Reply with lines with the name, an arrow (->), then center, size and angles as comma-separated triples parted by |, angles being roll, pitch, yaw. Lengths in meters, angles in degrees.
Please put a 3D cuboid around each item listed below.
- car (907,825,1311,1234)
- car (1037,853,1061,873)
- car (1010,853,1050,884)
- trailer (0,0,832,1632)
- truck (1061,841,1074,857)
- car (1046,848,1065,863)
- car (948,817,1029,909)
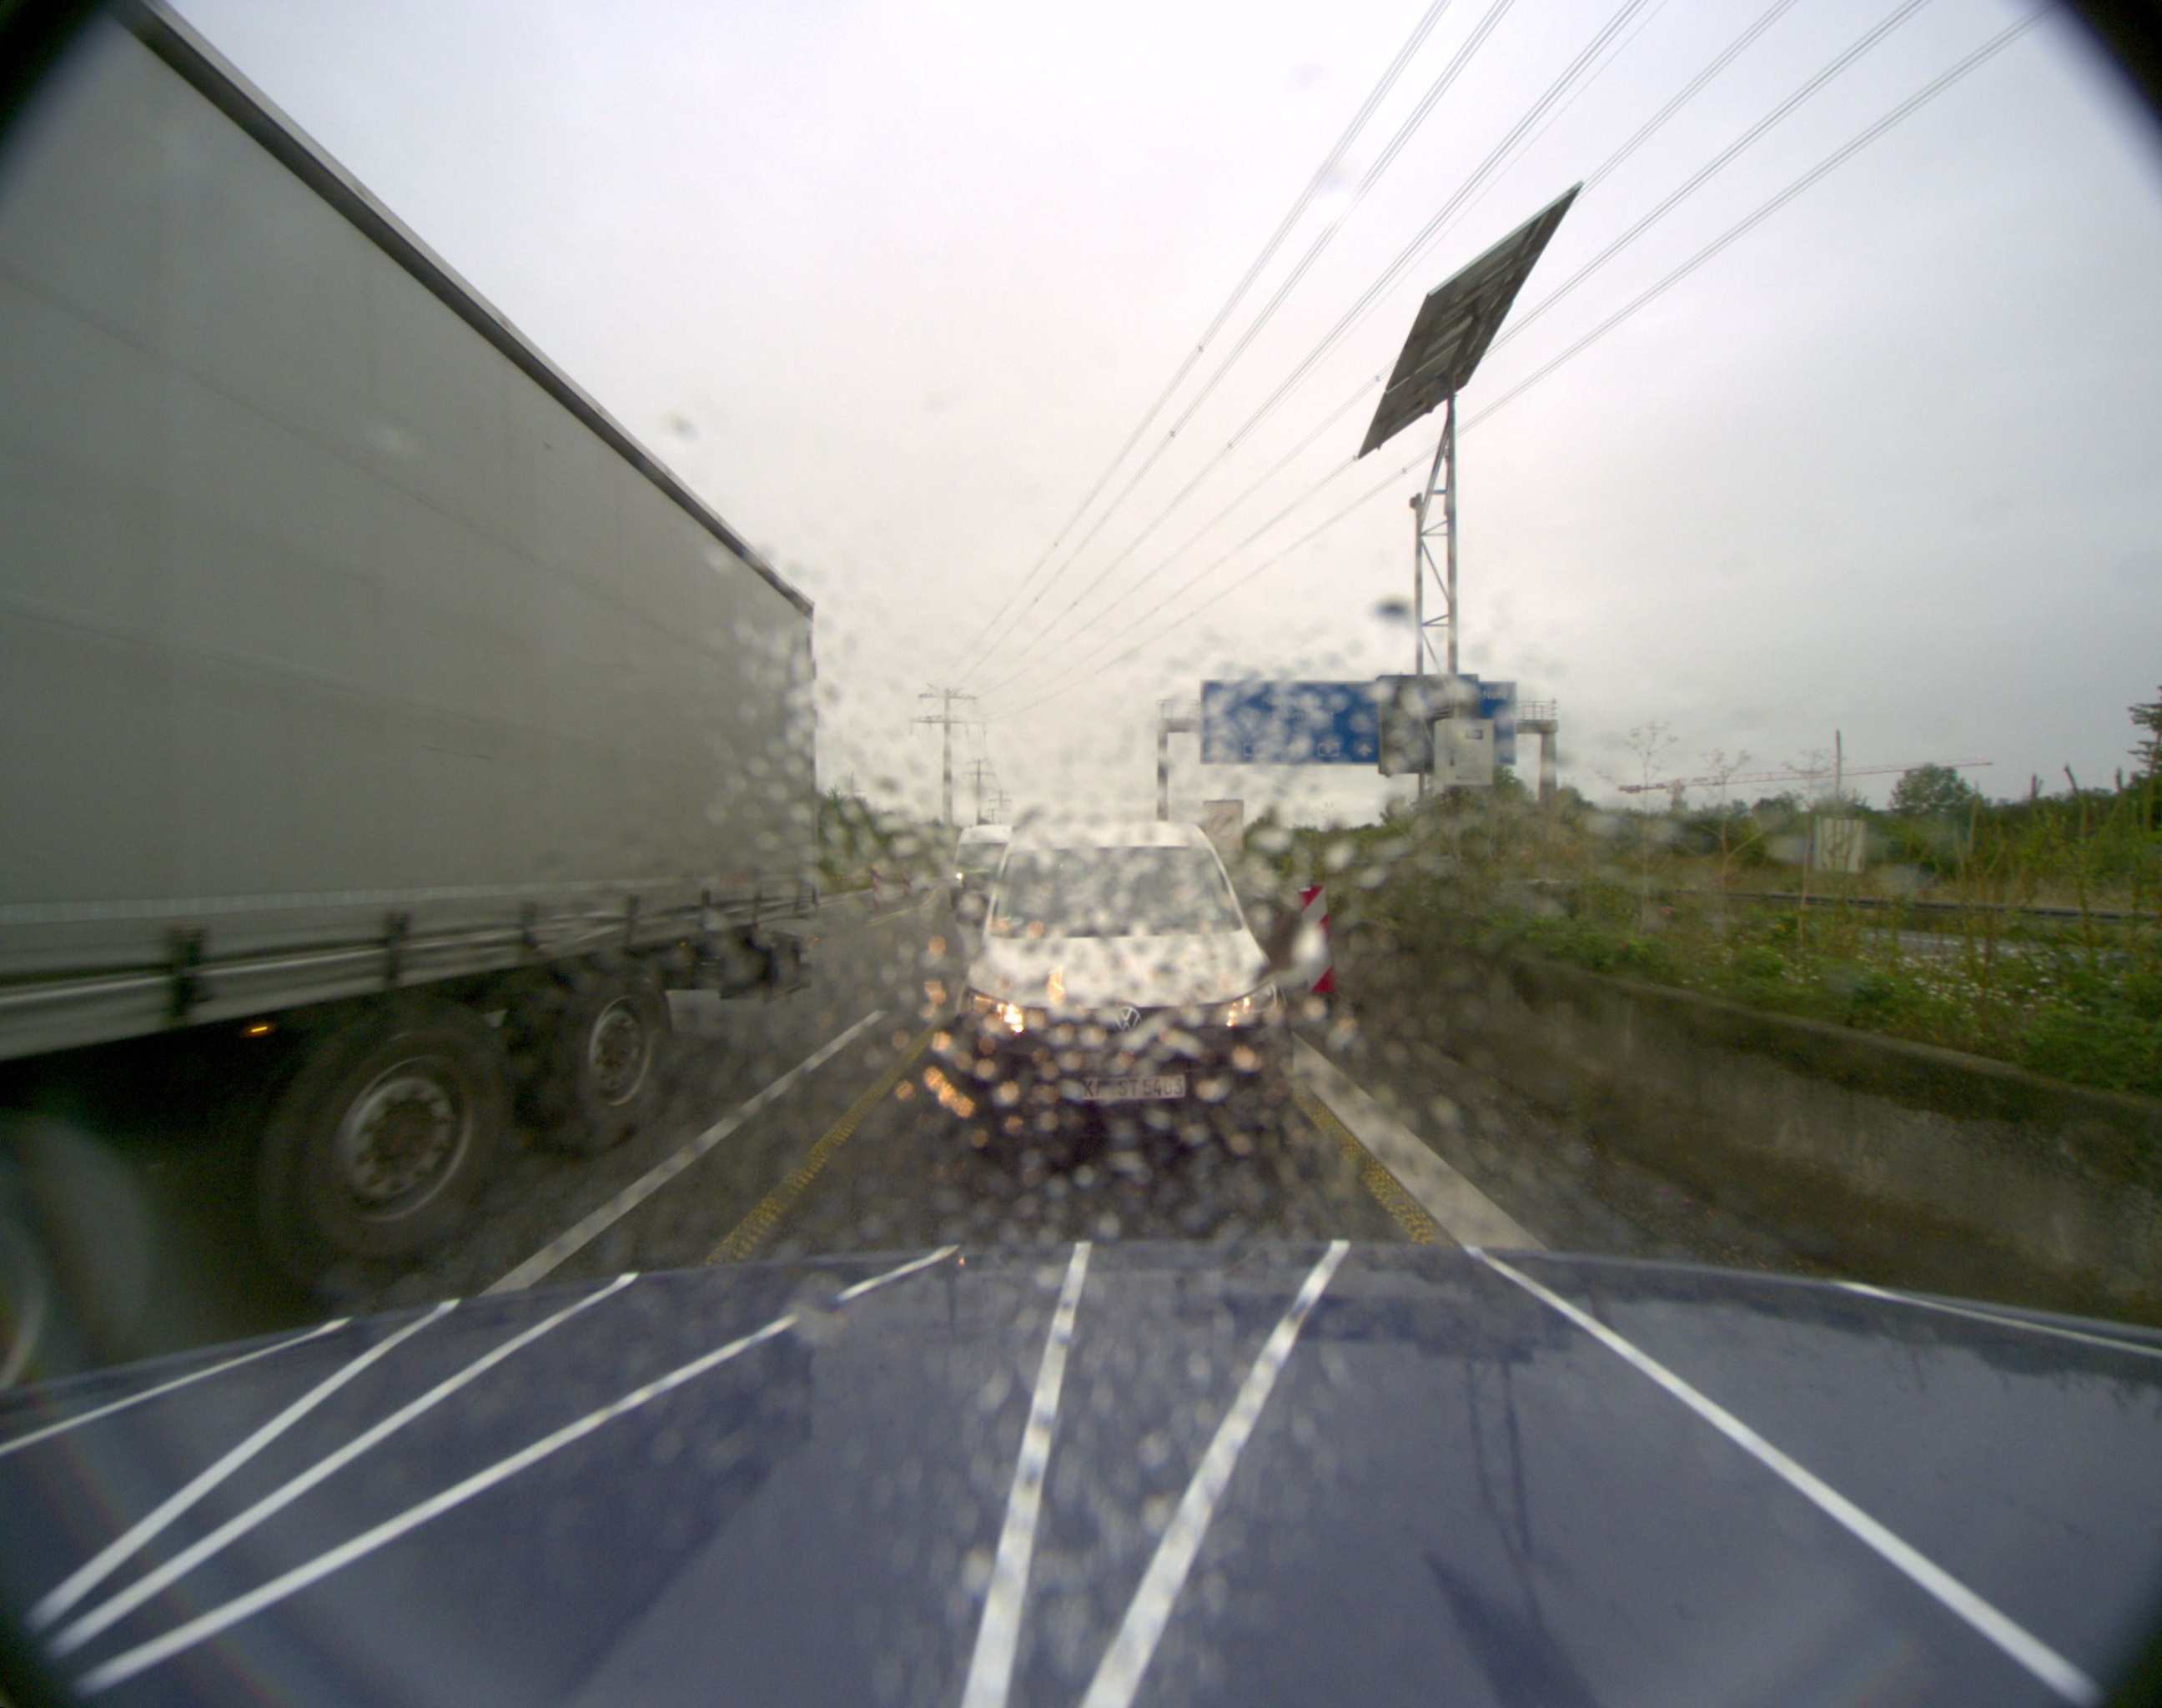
car -> 0.156, 0.789, 5.589 | 1.768, 1.803, 4.345 | -1, 0, 1
car -> -2.560, 0.704, 61.320 | 1.804, 1.523, 4.149 | -1, 0, -1
car -> -2.830, 0.776, 42.854 | 1.688, 1.649, 4.281 | -1, 0, 3
trailer -> -3.832, -0.289, 0.249 | 2.713, 4.122, 13.731 | -1, 0, 1
truck -> -3.244, -1.204, 190.997 | 2.875, 4.007, 8.309 | -1, 0, 1
car -> -2.533, 0.174, 77.217 | 1.804, 1.432, 4.149 | -1, 0, -1
car -> -3.004, 0.275, 25.928 | 1.998, 2.766, 5.756 | -1, 0, 0
